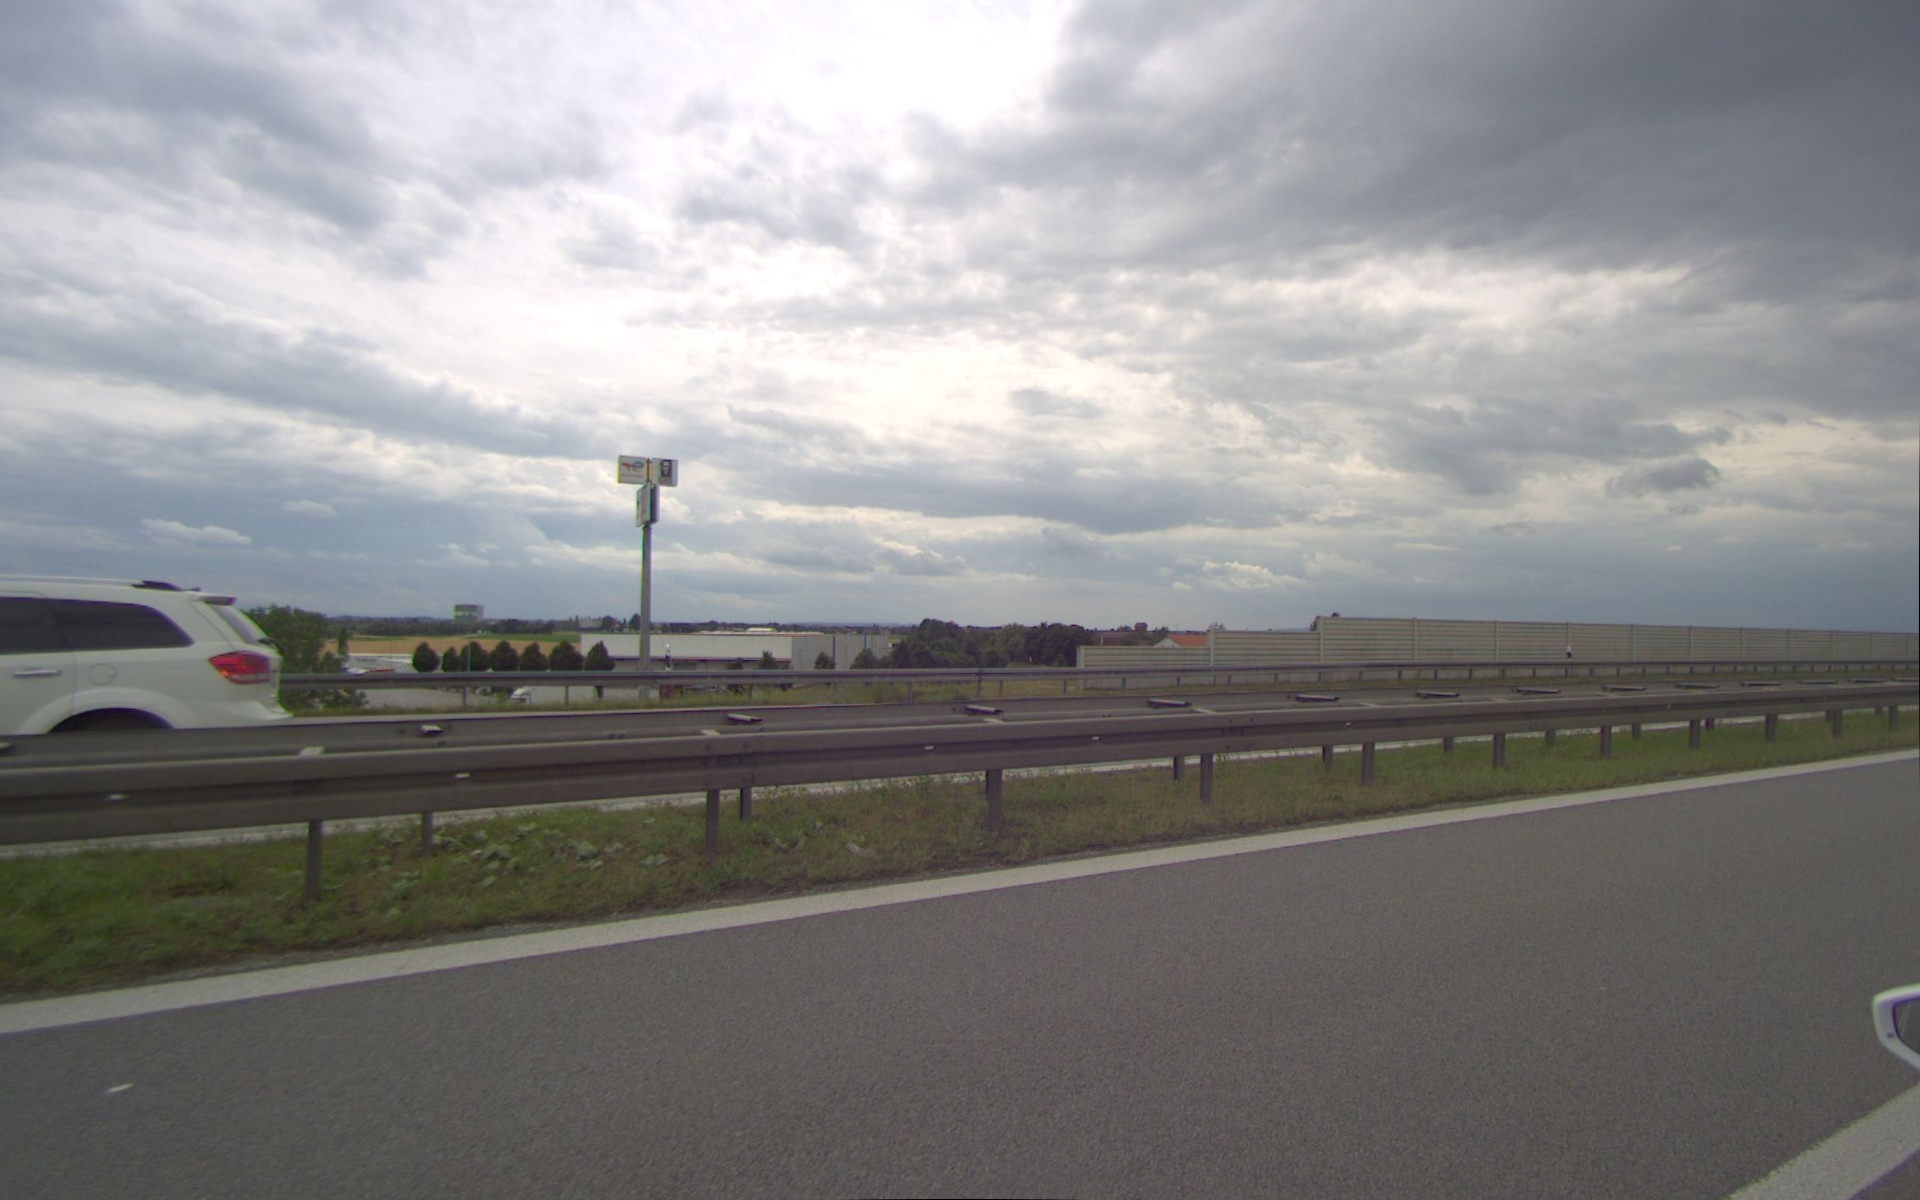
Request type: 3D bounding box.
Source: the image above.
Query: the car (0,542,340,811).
[{"bbox_3d":[-7.355,0.541,7.166,4.903,1.769,2.061,1,-3,-31],"label":"car"}]
